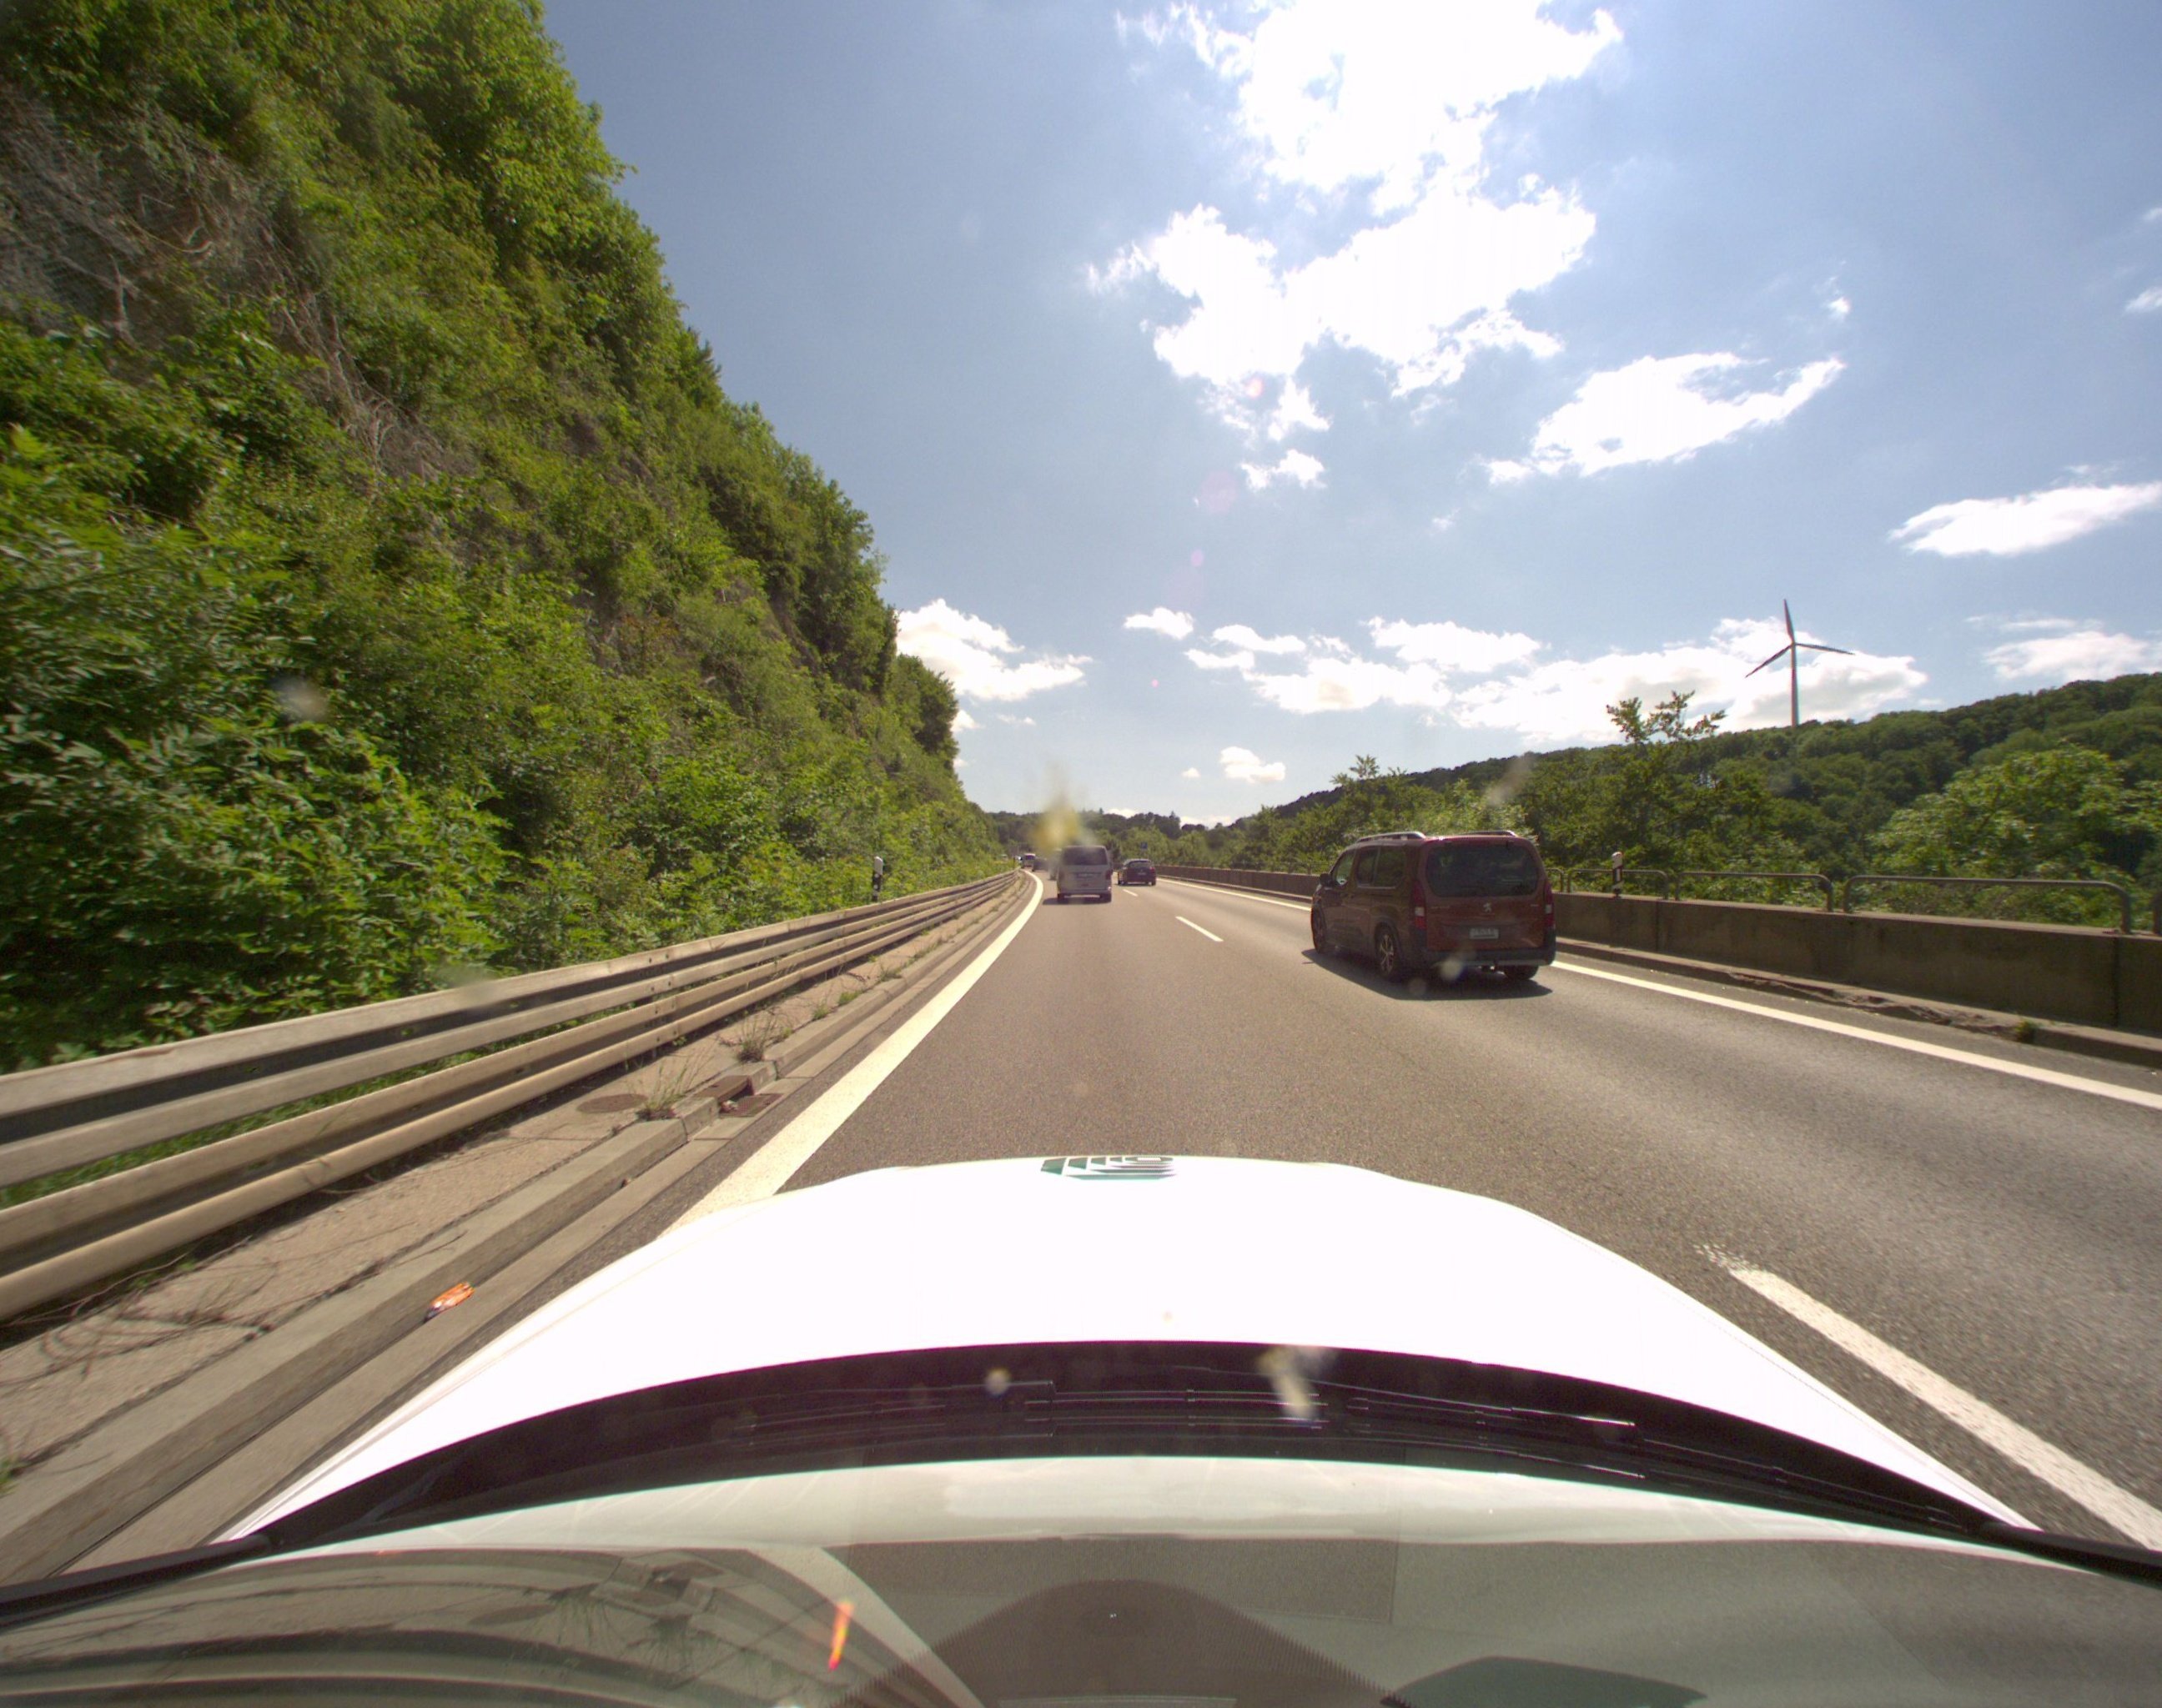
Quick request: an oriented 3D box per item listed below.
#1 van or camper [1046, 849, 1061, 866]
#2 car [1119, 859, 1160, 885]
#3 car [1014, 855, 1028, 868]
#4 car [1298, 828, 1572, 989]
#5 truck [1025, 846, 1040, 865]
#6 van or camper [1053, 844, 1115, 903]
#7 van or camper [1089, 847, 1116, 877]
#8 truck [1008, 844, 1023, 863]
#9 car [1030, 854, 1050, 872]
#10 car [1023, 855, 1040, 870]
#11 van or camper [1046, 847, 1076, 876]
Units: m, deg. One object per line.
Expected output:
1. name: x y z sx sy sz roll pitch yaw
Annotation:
1. van or camper: -6.504 0.868 194.408 3.267 3.789 8.105 -1 -1 -2
2. car: 3.191 0.984 45.137 1.765 1.376 3.587 0 0 -4
3. car: -9.256 1.118 125.519 1.990 1.915 3.993 0 0 -5
4. car: 4.581 0.650 11.451 1.827 1.784 4.675 0 -1 0
5. truck: -11.554 0.483 194.572 3.282 4.332 7.725 -1 -1 -1
6. van or camper: 0.015 0.665 29.213 1.872 1.949 4.286 -1 -1 -5
7. van or camper: 1.894 0.694 72.127 2.255 2.551 4.737 -1 -1 1
8. truck: -15.695 -0.060 194.916 3.288 4.520 7.710 -1 -1 -7
9. car: -4.274 0.914 84.463 1.989 1.817 3.995 0 0 -4
10. car: -6.156 1.014 100.824 1.989 1.817 3.995 0 0 -4
11. van or camper: -2.799 1.049 112.940 3.274 3.789 8.088 0 0 -8
